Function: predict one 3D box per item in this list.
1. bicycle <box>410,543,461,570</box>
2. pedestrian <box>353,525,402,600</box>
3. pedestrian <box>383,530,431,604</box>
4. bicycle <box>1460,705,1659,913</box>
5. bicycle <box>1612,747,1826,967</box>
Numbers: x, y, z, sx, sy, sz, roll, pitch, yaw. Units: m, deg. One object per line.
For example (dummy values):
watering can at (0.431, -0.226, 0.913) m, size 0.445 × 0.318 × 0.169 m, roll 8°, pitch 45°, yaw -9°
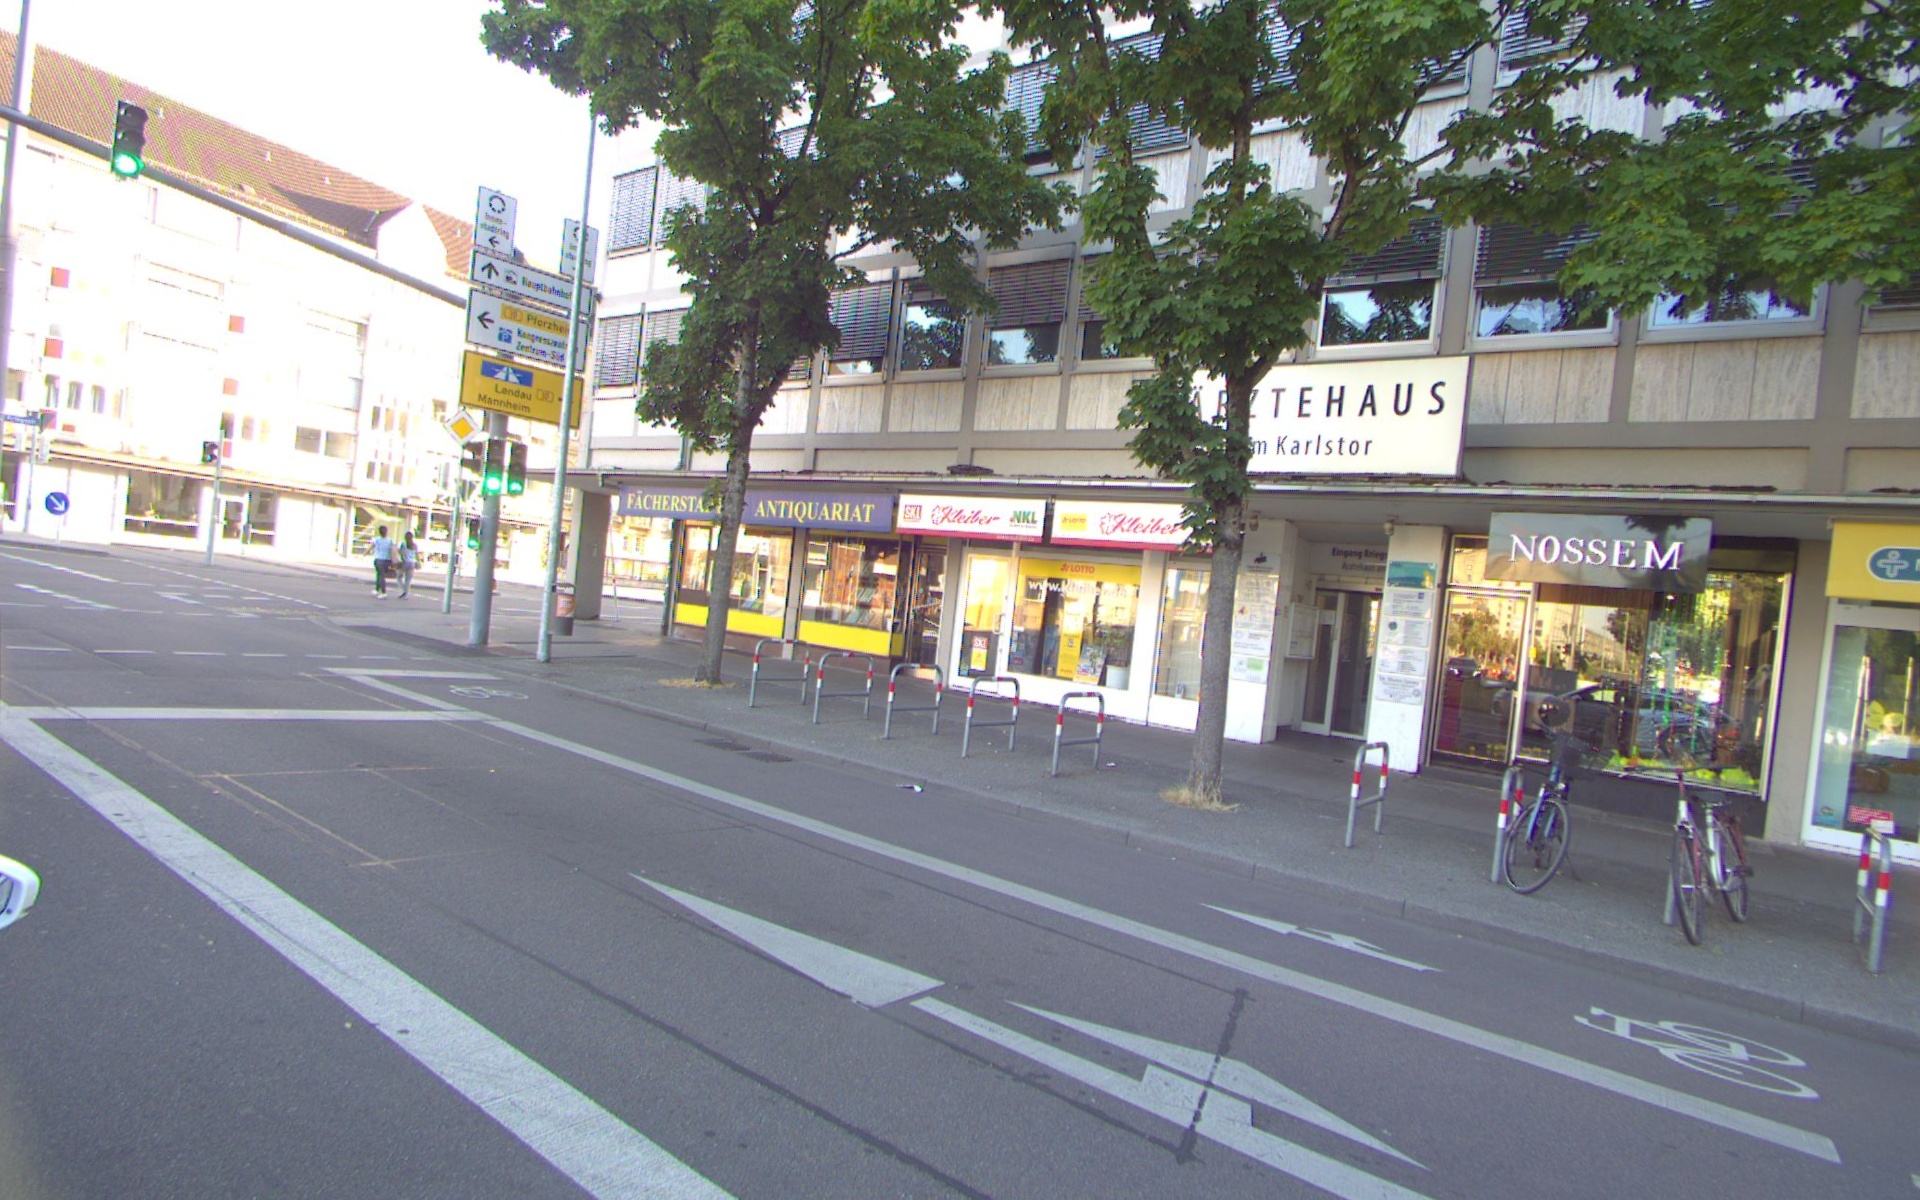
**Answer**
bicycle at (-30.058, -2.484, 57.699) m, size 0.809 × 1.281 × 2.408 m, roll 7°, pitch 0°, yaw 30°
pedestrian at (-13.800, -0.887, 23.825) m, size 0.661 × 1.688 × 0.683 m, roll 7°, pitch 1°, yaw 39°
pedestrian at (-13.549, -0.806, 24.644) m, size 0.661 × 1.688 × 0.722 m, roll 7°, pitch 1°, yaw 39°
bicycle at (4.446, 1.459, 7.390) m, size 1.898 × 1.251 × 0.660 m, roll 6°, pitch 1°, yaw -44°
bicycle at (5.053, 1.600, 6.644) m, size 1.989 × 1.124 × 0.660 m, roll 6°, pitch 1°, yaw -42°
